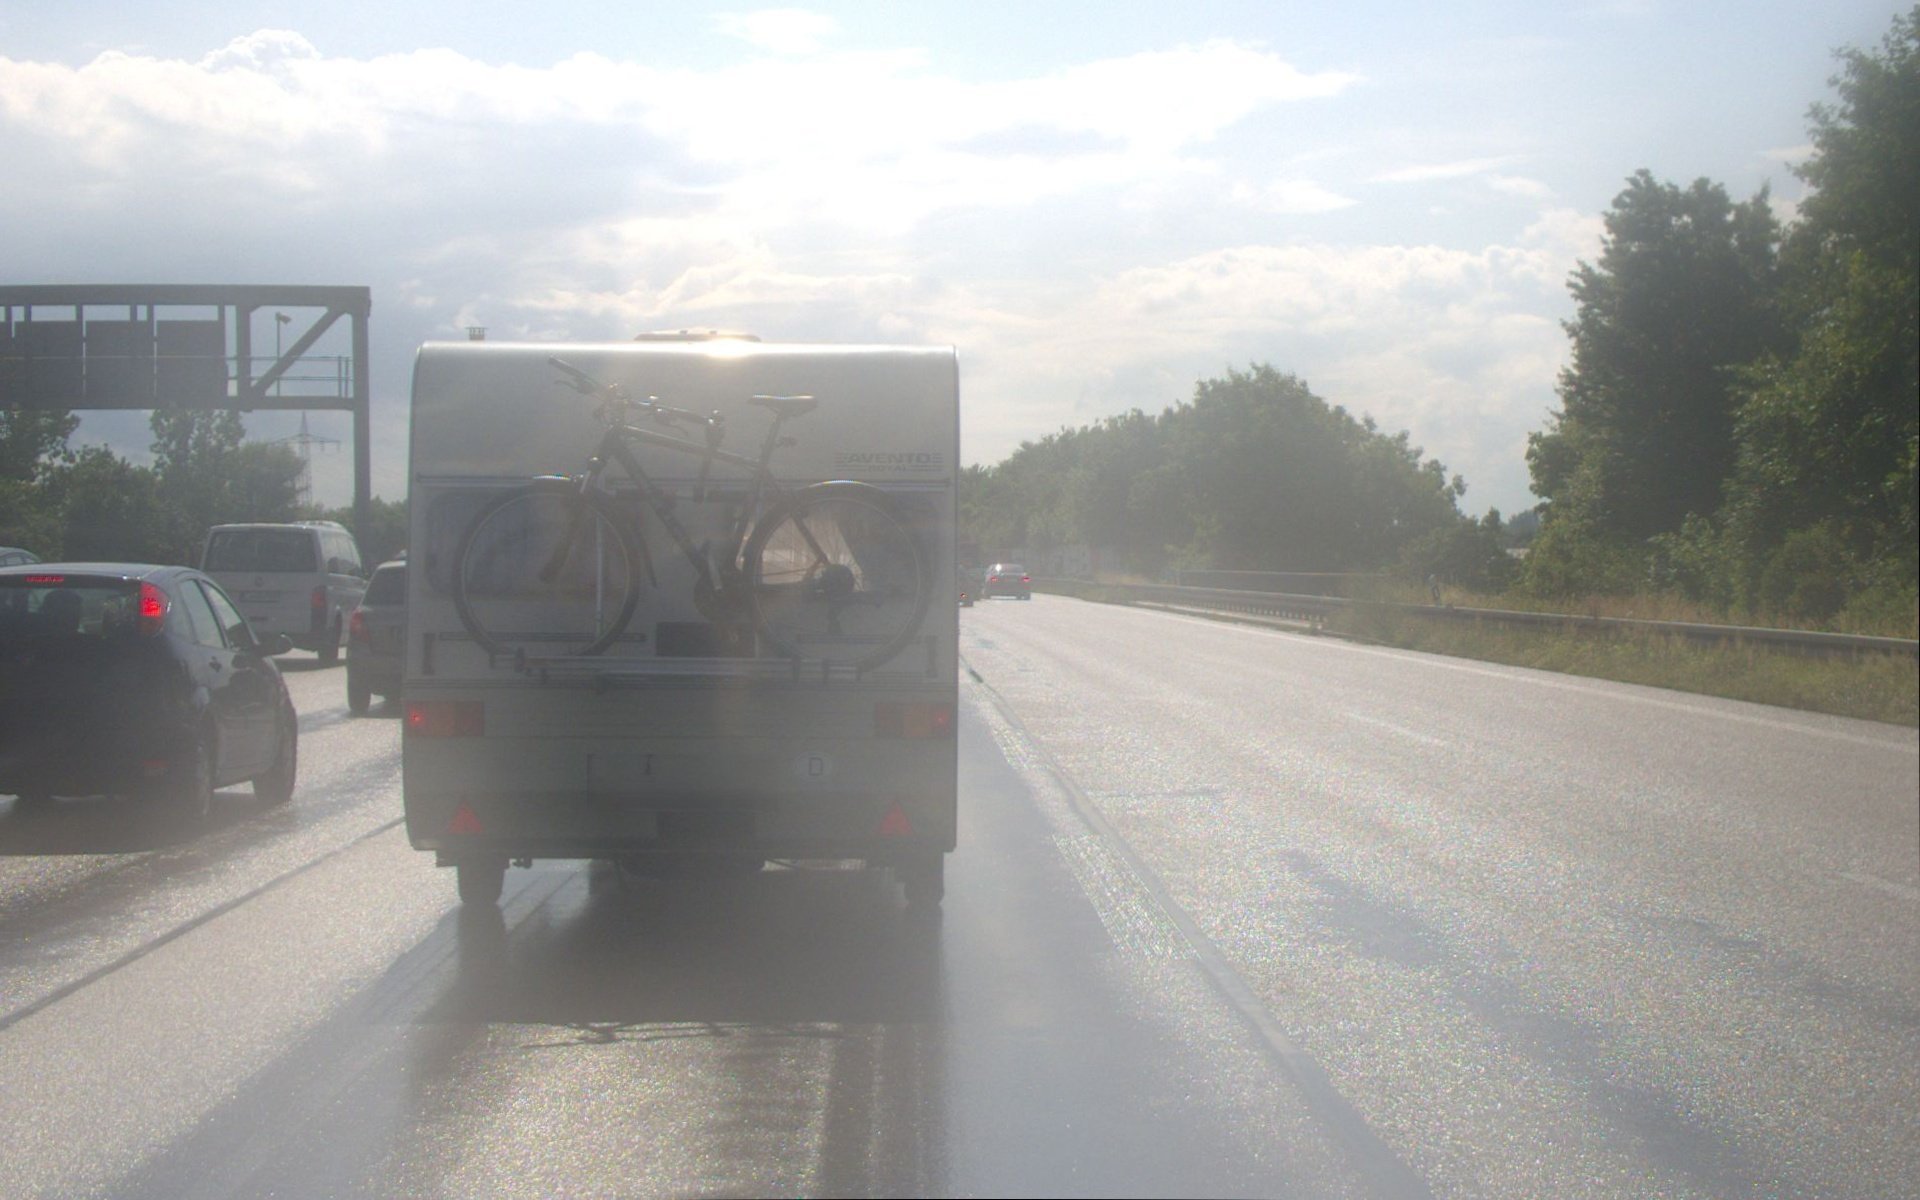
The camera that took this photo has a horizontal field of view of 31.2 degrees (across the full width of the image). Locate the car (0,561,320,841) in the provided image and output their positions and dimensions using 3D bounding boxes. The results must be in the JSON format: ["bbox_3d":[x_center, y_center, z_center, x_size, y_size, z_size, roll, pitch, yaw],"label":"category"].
[{"bbox_3d":[-4.958,0.508,19.954,1.758,1.438,4.000,0,1,0],"label":"car"}]

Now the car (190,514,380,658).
[{"bbox_3d":[-9.506,-0.219,48.776,1.847,1.927,5.017,0,1,-2],"label":"car"}]

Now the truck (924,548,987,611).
[{"bbox_3d":[-0.200,-0.851,136.978,2.415,2.435,6.053,0,1,0],"label":"truck"}]

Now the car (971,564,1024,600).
[{"bbox_3d":[1.583,-0.768,146.425,1.876,1.489,4.001,1,0,-5],"label":"car"}]

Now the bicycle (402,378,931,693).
[{"bbox_3d":[-1.084,-0.239,12.859,1.934,1.137,0.384,1,0,1],"label":"bicycle"}]

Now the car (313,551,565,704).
[{"bbox_3d":[-5.199,0.237,34.759,1.987,1.453,3.827,0,1,0],"label":"car"}]

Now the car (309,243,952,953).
[{"bbox_3d":[-1.264,-0.022,15.059,2.410,2.665,4.000,1,0,0],"label":"car"}]

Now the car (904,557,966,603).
[{"bbox_3d":[-0.884,-0.707,118.854,1.835,1.552,4.001,1,0,-5],"label":"car"}]

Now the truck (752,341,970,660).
[{"bbox_3d":[-1.638,-1.502,55.319,3.146,4.610,10.737,0,1,-2],"label":"truck"}]

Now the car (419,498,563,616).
[{"bbox_3d":[-6.789,-0.624,50.073,1.689,1.656,3.641,0,1,-1],"label":"car"}]

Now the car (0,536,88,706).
[{"bbox_3d":[-9.844,0.166,33.601,1.783,1.573,3.916,0,1,-2],"label":"car"}]
